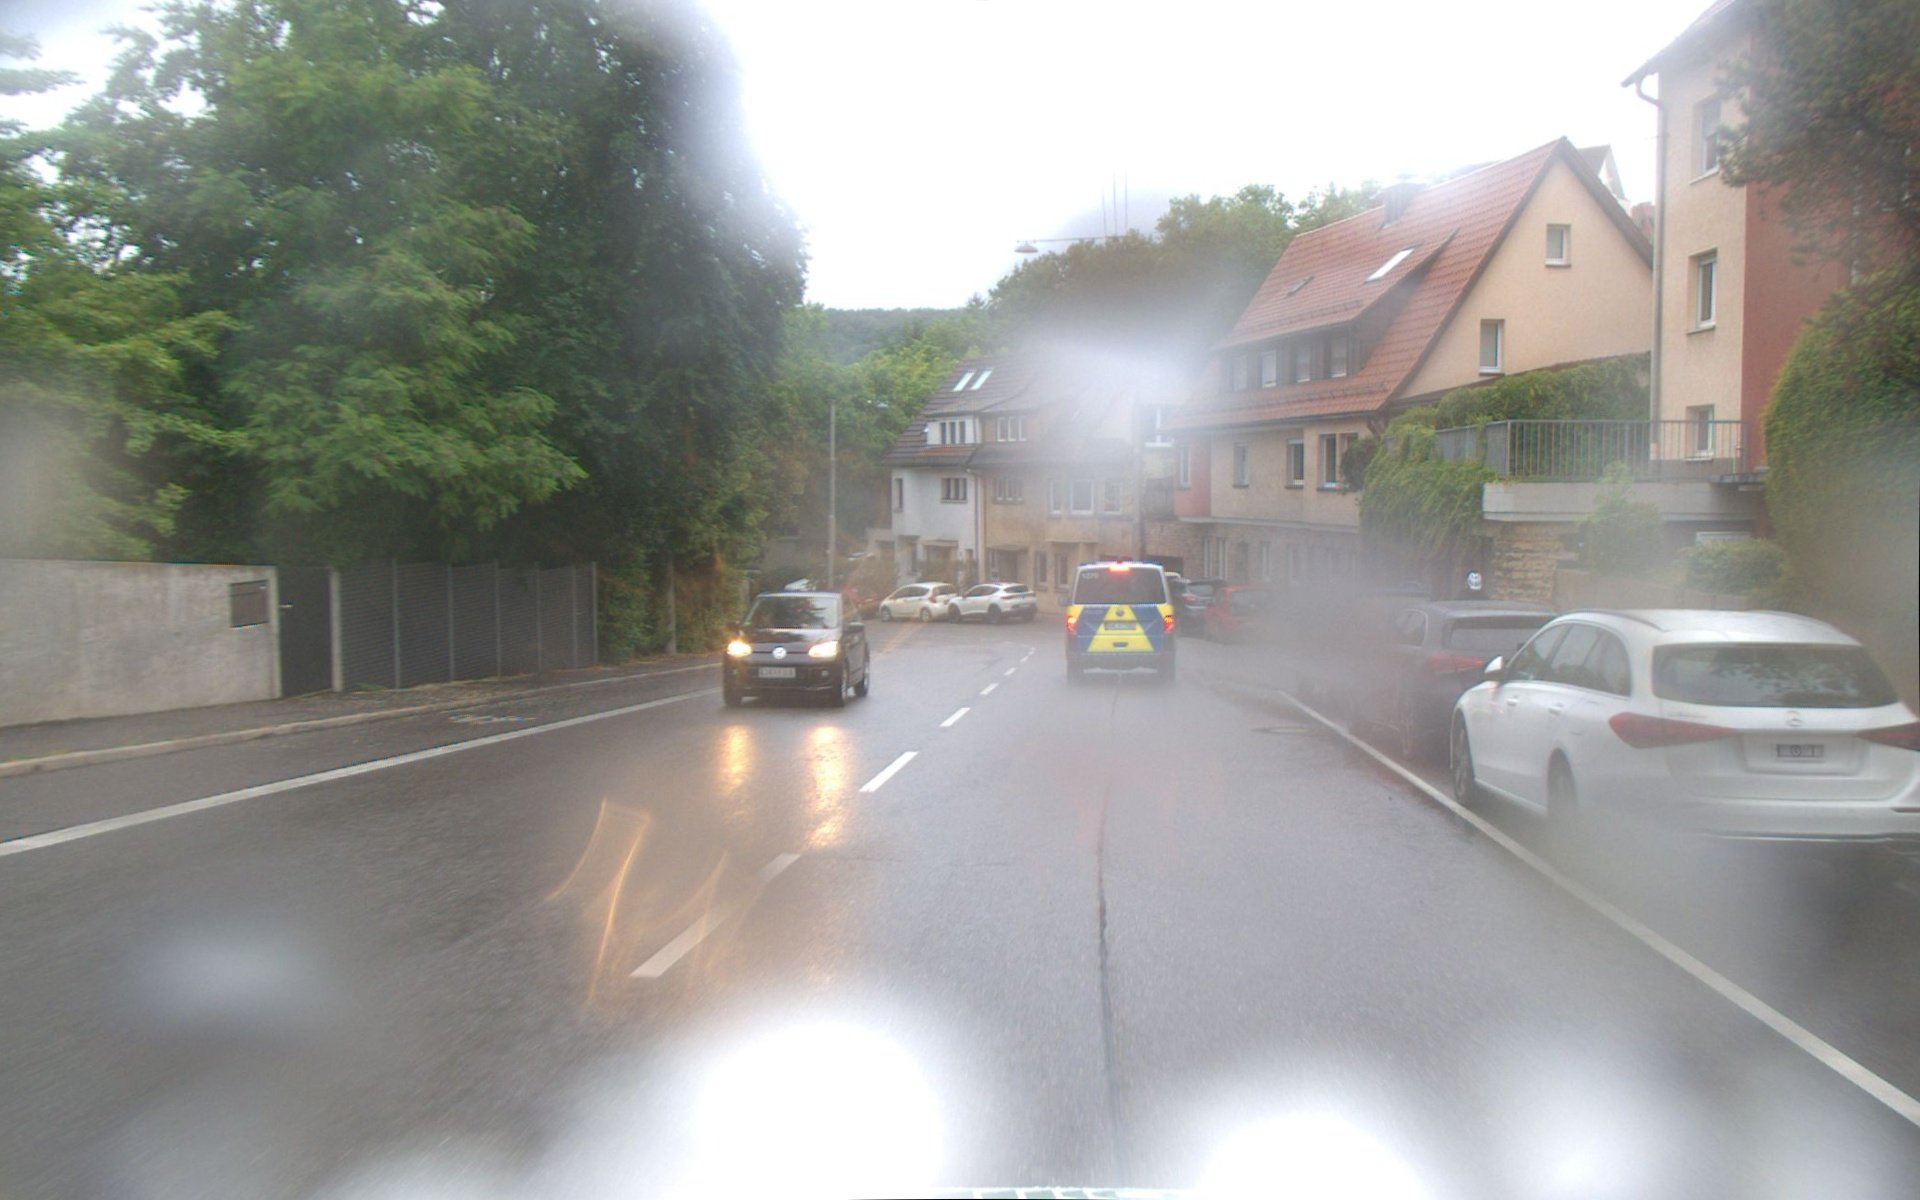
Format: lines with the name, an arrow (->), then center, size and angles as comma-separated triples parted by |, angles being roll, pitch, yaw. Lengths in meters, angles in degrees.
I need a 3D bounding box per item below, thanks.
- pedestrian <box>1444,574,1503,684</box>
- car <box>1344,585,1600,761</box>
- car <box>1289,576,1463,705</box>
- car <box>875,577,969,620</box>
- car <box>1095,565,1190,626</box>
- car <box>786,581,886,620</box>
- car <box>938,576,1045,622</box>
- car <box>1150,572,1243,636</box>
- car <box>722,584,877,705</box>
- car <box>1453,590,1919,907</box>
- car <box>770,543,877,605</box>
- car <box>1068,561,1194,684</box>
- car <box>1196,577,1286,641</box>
pedestrian -> 7.987, 0.439, 25.730 | 0.611, 1.679, 0.610 | 0, 0, -24
car -> 4.925, 0.620, 16.461 | 1.653, 1.480, 4.257 | -1, 1, 6
car -> 5.739, 0.485, 23.261 | 1.697, 1.621, 4.257 | -1, 1, 5
car -> -1.584, -0.035, 67.873 | 1.756, 1.541, 3.766 | -6, 3, -41
car -> 5.989, -0.195, 54.725 | 1.676, 1.821, 4.311 | -5, 2, -13
car -> -5.360, 0.019, 71.407 | 4.113, 1.390, 1.779 | -3, 3, 37
car -> 1.195, -0.020, 64.182 | 1.898, 1.564, 4.361 | -6, 2, -34
car -> 7.024, 0.077, 49.562 | 1.585, 1.632, 4.405 | -4, 2, -7
car -> -2.110, 0.542, 22.661 | 1.615, 1.445, 3.804 | 2, 1, 1
car -> 4.396, 0.718, 10.183 | 1.769, 1.480, 4.257 | -1, 1, 5
car -> -6.421, -1.256, 77.800 | 4.350, 1.870, 1.985 | -15, 9, -24
car -> 2.973, 0.379, 28.868 | 1.951, 1.926, 4.573 | -2, -1, 6
car -> 7.505, 0.198, 44.471 | 1.583, 1.460, 3.580 | -4, 2, -3
